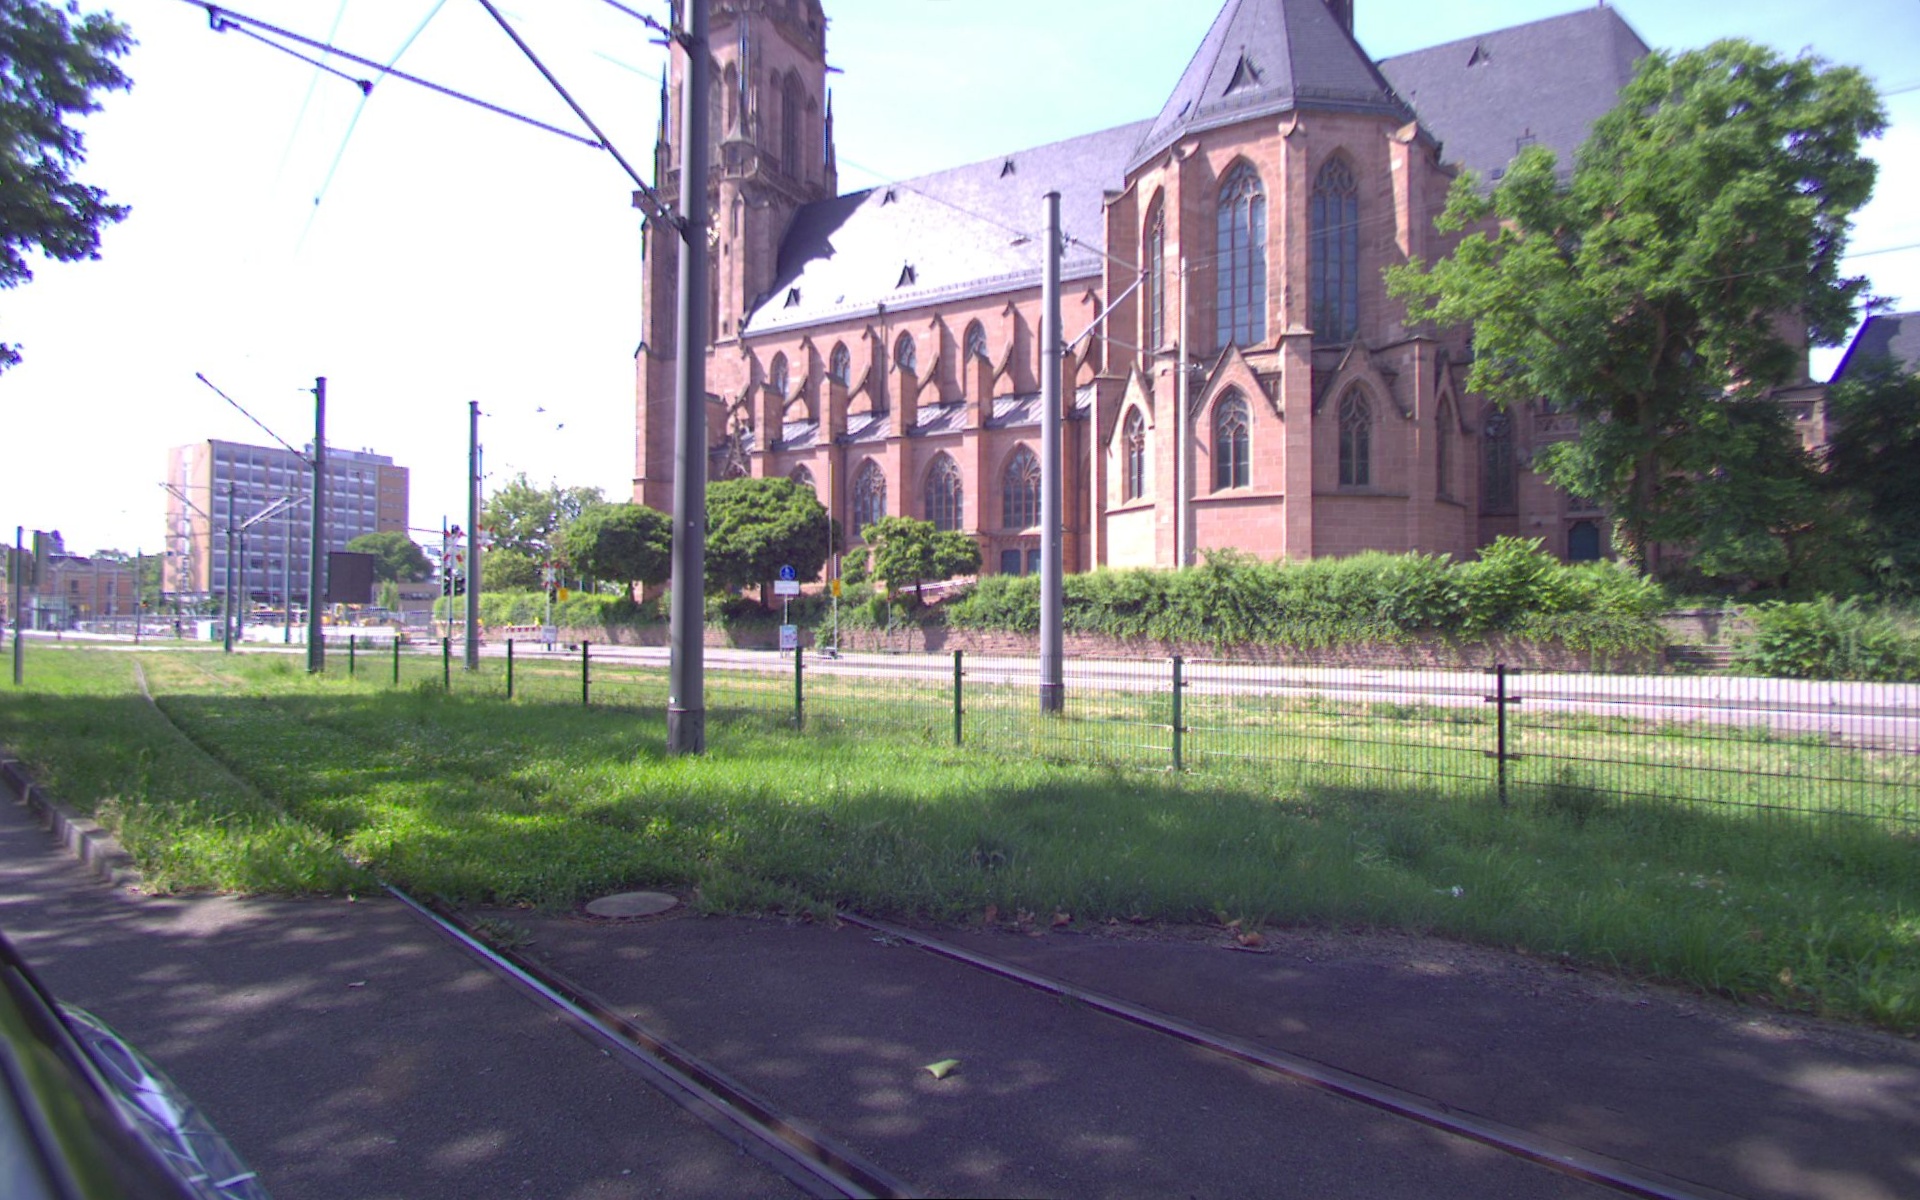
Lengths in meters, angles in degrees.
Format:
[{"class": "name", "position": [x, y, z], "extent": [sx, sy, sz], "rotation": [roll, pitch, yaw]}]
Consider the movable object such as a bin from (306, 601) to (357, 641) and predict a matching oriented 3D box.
[{"class": "movable object such as a bin", "position": [-63.756, 2.140, 102.744], "extent": [2.904, 3.911, 3.327], "rotation": [0, -2, 8]}]
